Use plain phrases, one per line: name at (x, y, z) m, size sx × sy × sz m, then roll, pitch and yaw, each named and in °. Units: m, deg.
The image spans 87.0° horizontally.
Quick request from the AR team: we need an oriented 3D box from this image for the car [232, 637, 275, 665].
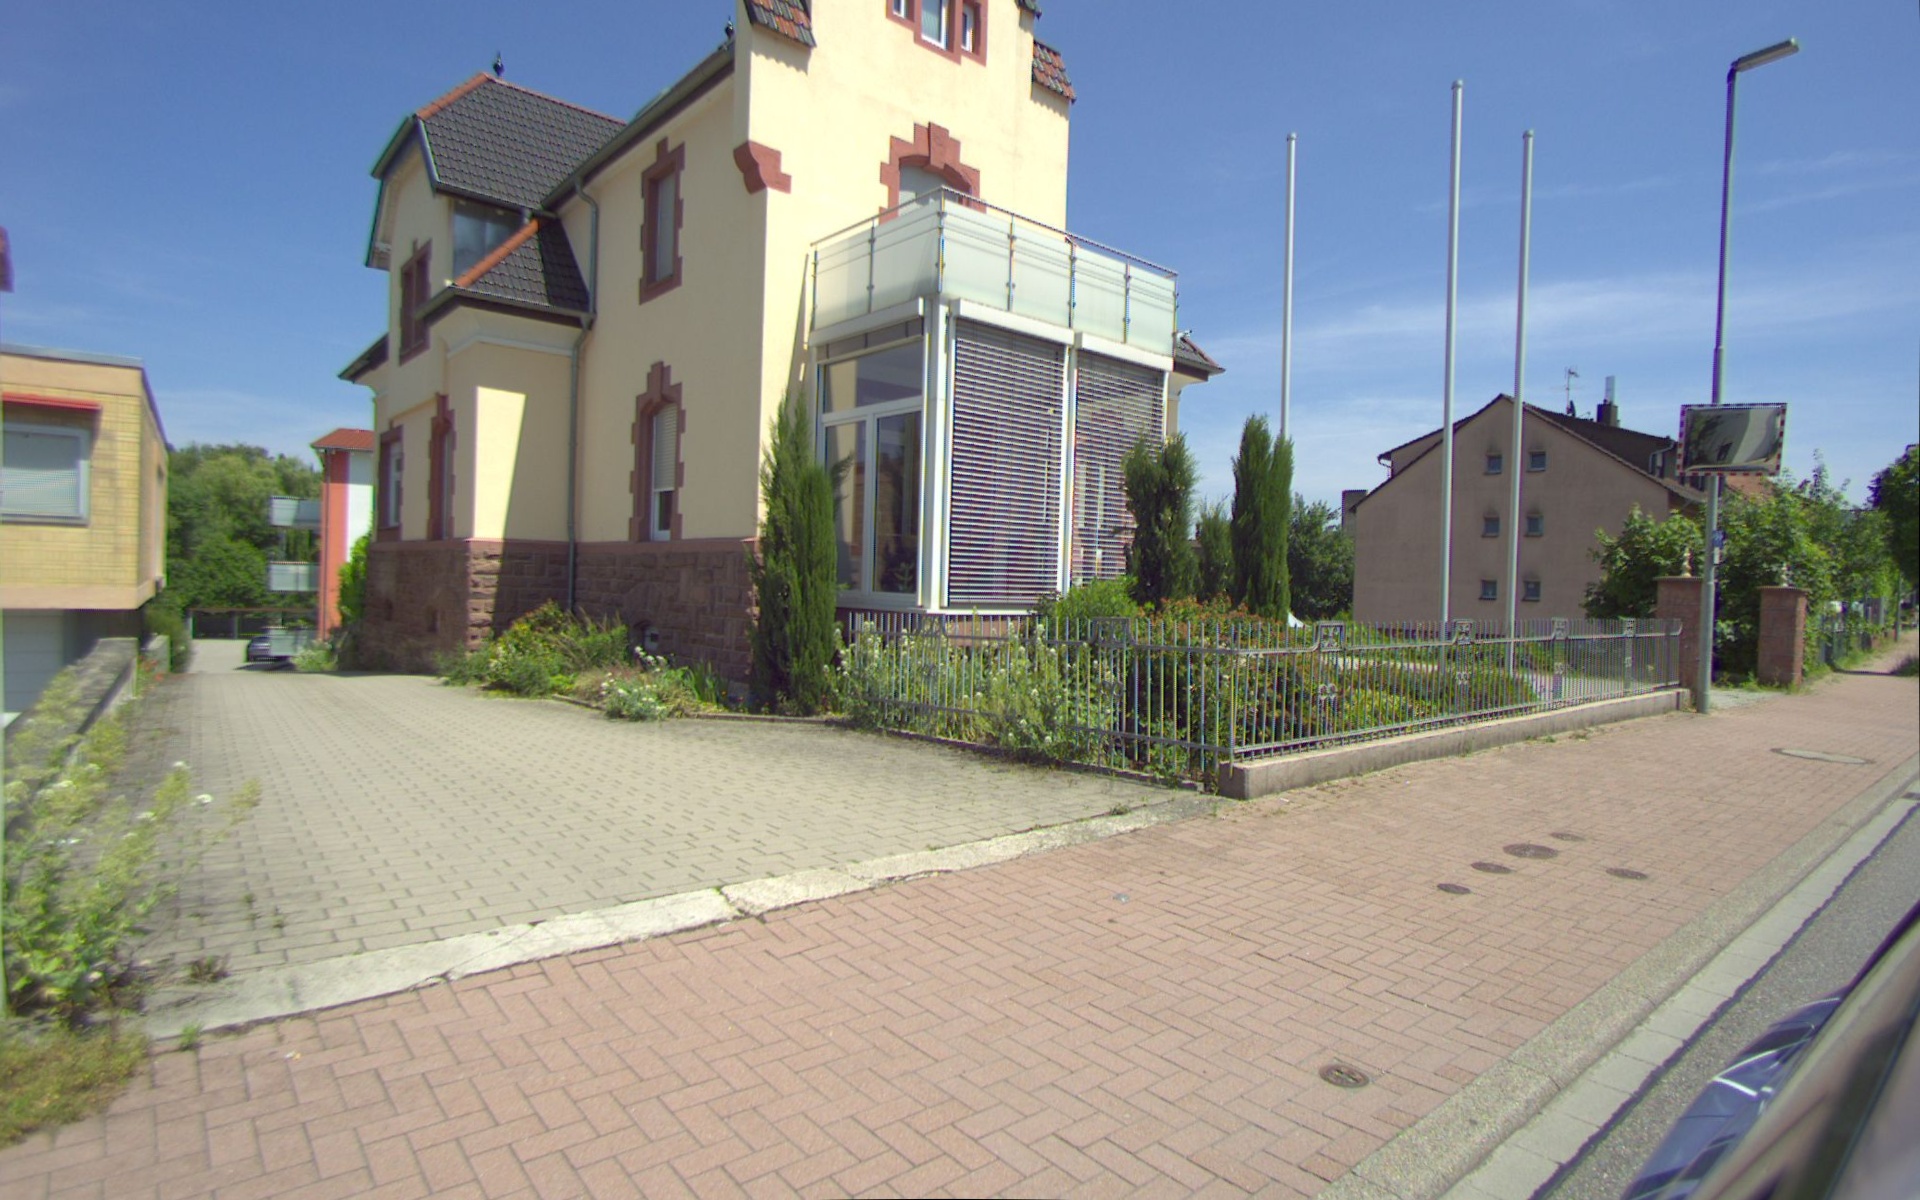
car at (-39.789, 2.831, 57.079) m, size 1.873 × 1.460 × 3.928 m, roll 0°, pitch -1°, yaw -33°
